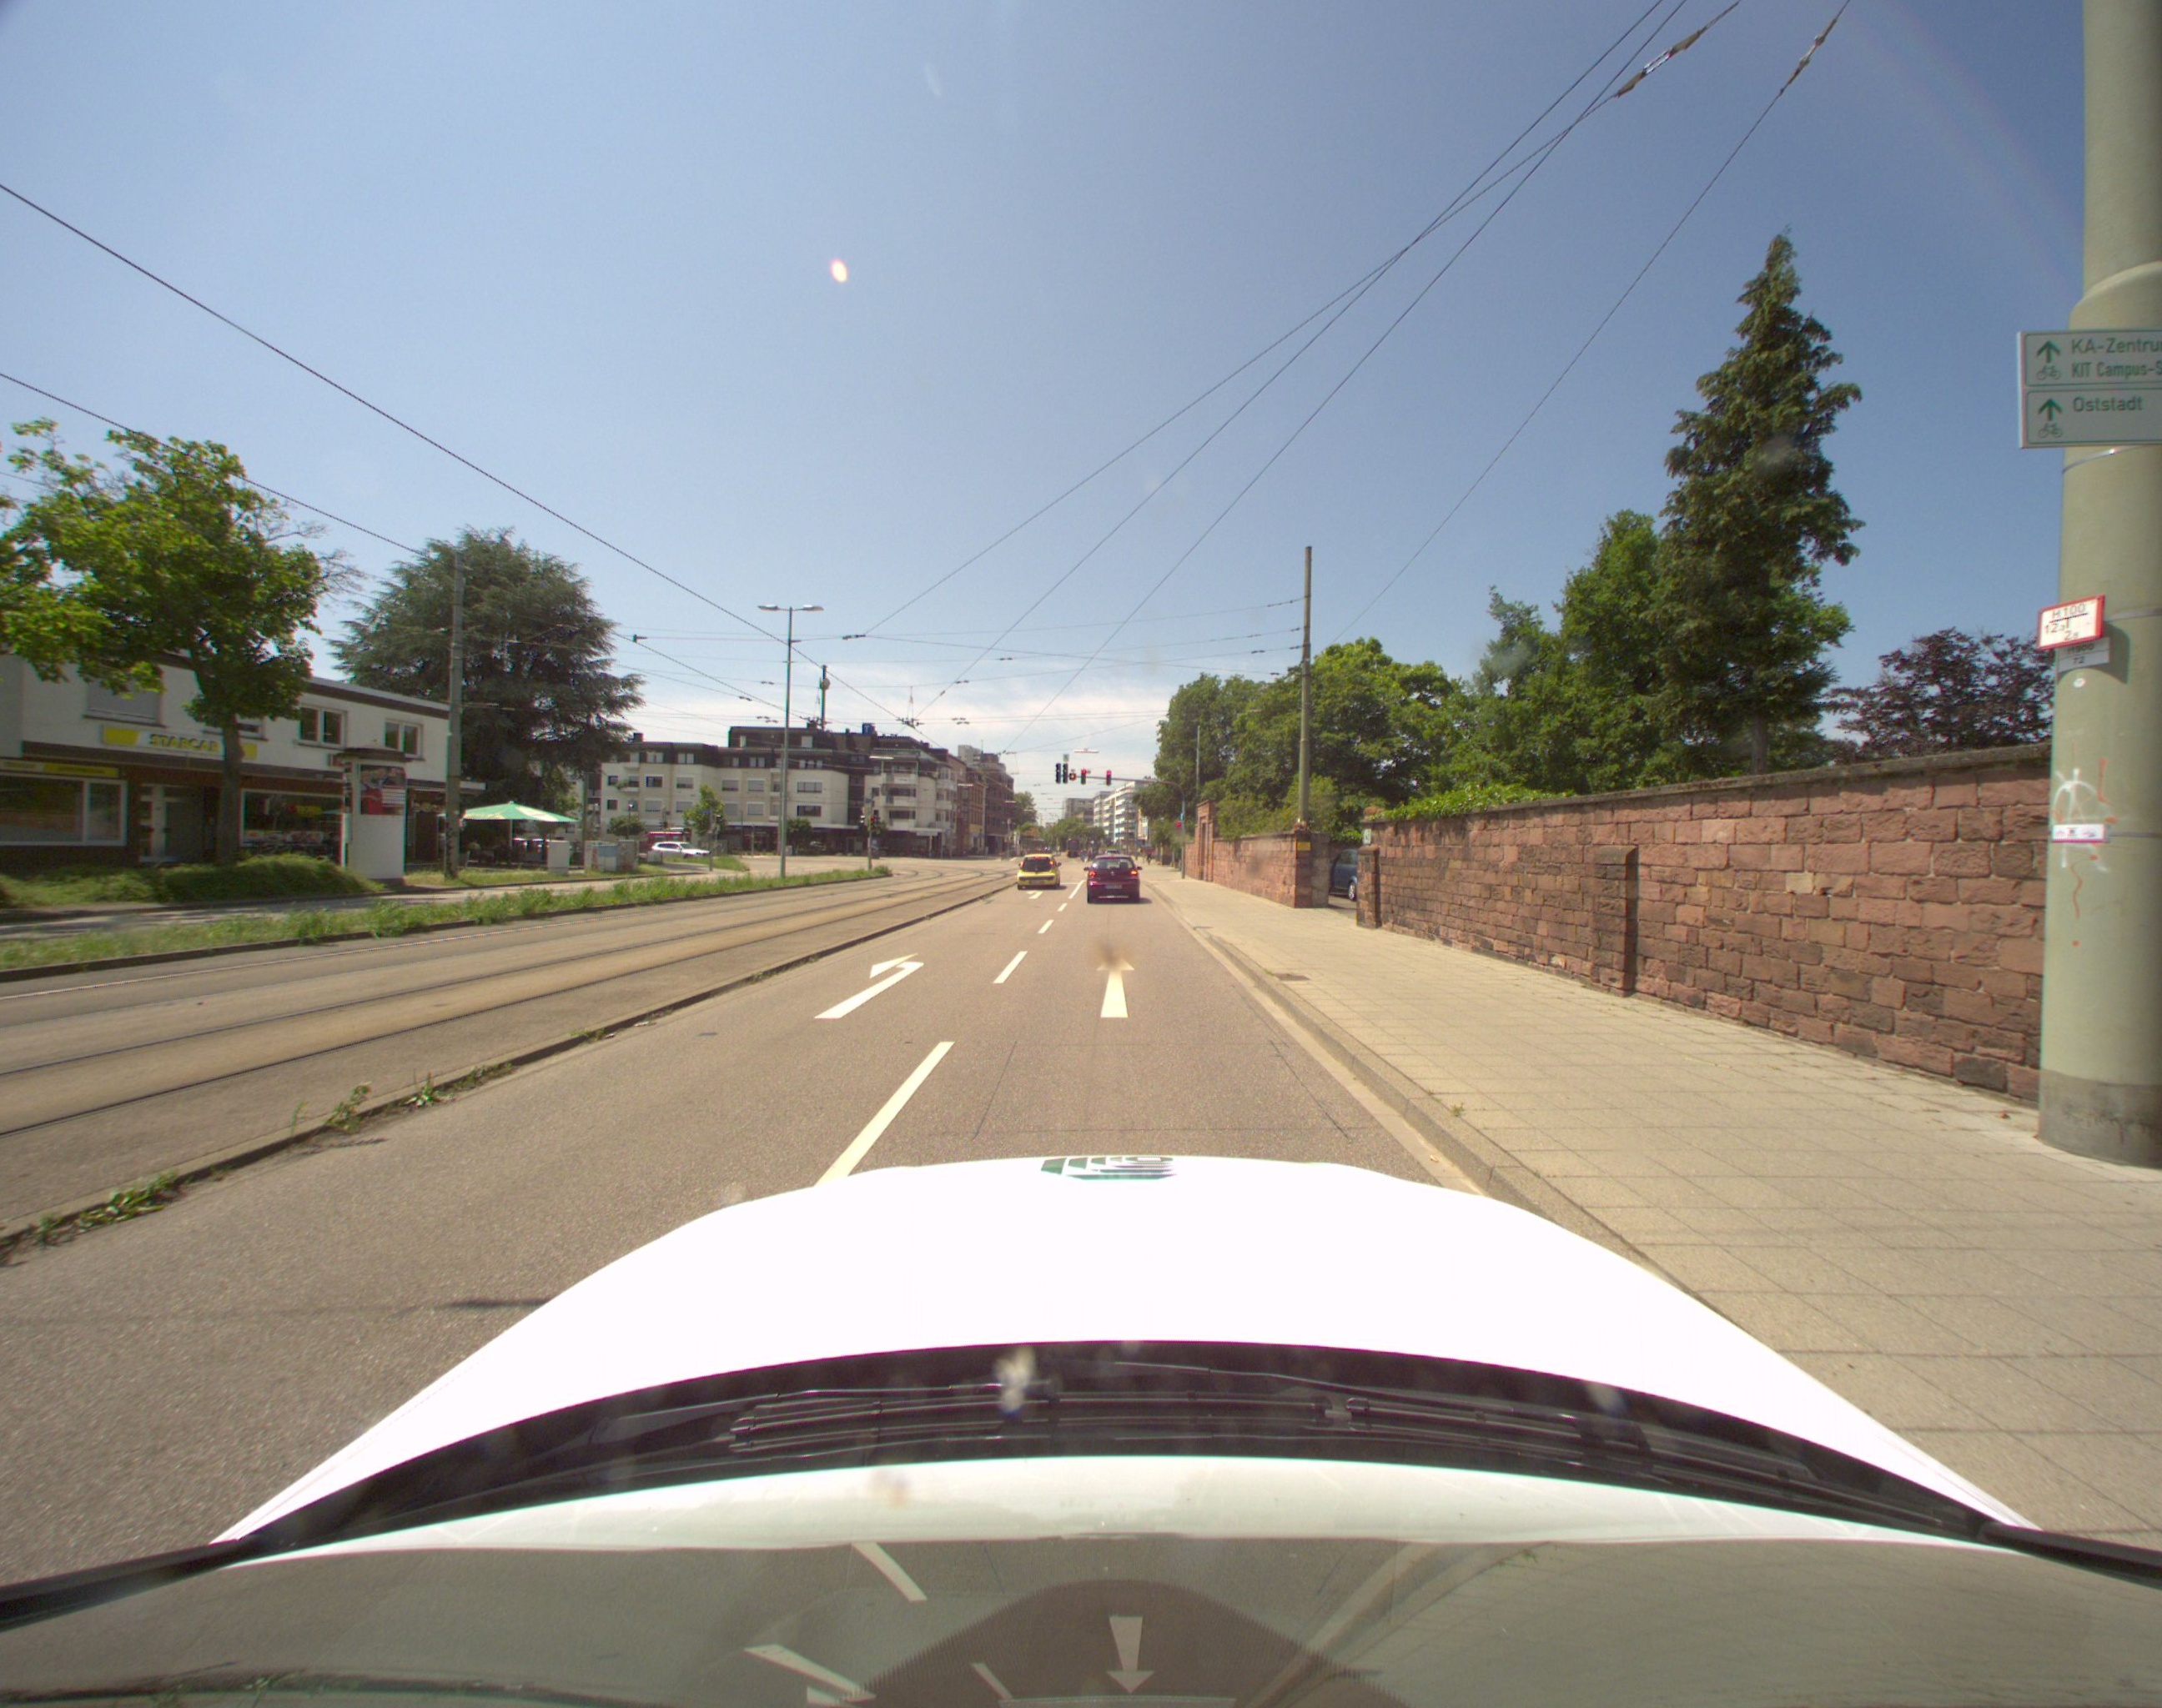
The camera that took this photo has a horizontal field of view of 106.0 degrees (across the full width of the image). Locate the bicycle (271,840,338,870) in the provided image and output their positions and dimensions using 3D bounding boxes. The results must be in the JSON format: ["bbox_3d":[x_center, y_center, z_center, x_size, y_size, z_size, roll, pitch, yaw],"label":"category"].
[{"bbox_3d":[-26.491,0.040,27.832,0.536,0.979,1.760,0,-1,2],"label":"bicycle"}]

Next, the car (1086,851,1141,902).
[{"bbox_3d":[1.028,0.652,26.023,1.604,1.463,4.087,-1,0,2],"label":"car"}]

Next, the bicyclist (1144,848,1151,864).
[{"bbox_3d":[7.583,0.246,93.182,0.718,1.818,0.889,0,-1,2],"label":"bicyclist"}]

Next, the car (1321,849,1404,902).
[{"bbox_3d":[8.511,0.610,24.834,1.476,1.482,2.945,2,0,0],"label":"car"}]

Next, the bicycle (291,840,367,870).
[{"bbox_3d":[-25.206,0.032,27.349,0.608,0.979,2.030,0,-1,2],"label":"bicycle"}]

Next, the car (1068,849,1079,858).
[{"bbox_3d":[-1.354,-0.089,146.366,1.931,1.641,4.001,0,0,2],"label":"car"}]

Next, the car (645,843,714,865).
[{"bbox_3d":[-29.746,0.036,60.395,4.523,1.610,1.735,0,-1,13],"label":"car"}]

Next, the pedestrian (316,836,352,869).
[{"bbox_3d":[-28.690,-0.058,31.290,0.587,1.268,0.843,0,-1,2],"label":"pedestrian"}]

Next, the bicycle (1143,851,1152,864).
[{"bbox_3d":[7.714,0.407,94.523,0.831,1.525,4.002,0,0,2],"label":"bicycle"}]

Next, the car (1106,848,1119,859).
[{"bbox_3d":[3.934,-0.079,102.747,1.566,1.415,3.722,-1,0,2],"label":"car"}]

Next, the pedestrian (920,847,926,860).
[{"bbox_3d":[-19.517,-0.063,100.618,0.479,1.541,0.541,-1,-1,43],"label":"pedestrian"}]

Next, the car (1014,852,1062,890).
[{"bbox_3d":[-1.774,0.684,34.284,1.717,1.445,3.294,-1,1,2],"label":"car"}]

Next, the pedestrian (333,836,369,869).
[{"bbox_3d":[-28.013,-0.049,31.244,0.587,1.268,0.843,0,-1,2],"label":"pedestrian"}]

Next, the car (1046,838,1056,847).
[{"bbox_3d":[-6.768,-2.529,183.915,1.728,2.013,4.003,1,0,2],"label":"car"}]

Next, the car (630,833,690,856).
[{"bbox_3d":[-43.738,-0.978,84.757,5.047,2.341,2.245,0,-1,0],"label":"car"}]

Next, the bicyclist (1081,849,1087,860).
[{"bbox_3d":[0.375,0.067,100.273,0.764,1.406,0.506,0,-1,-2],"label":"bicyclist"}]

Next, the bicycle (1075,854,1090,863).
[{"bbox_3d":[0.151,0.542,100.262,1.861,1.008,0.578,0,-1,-3],"label":"bicycle"}]
